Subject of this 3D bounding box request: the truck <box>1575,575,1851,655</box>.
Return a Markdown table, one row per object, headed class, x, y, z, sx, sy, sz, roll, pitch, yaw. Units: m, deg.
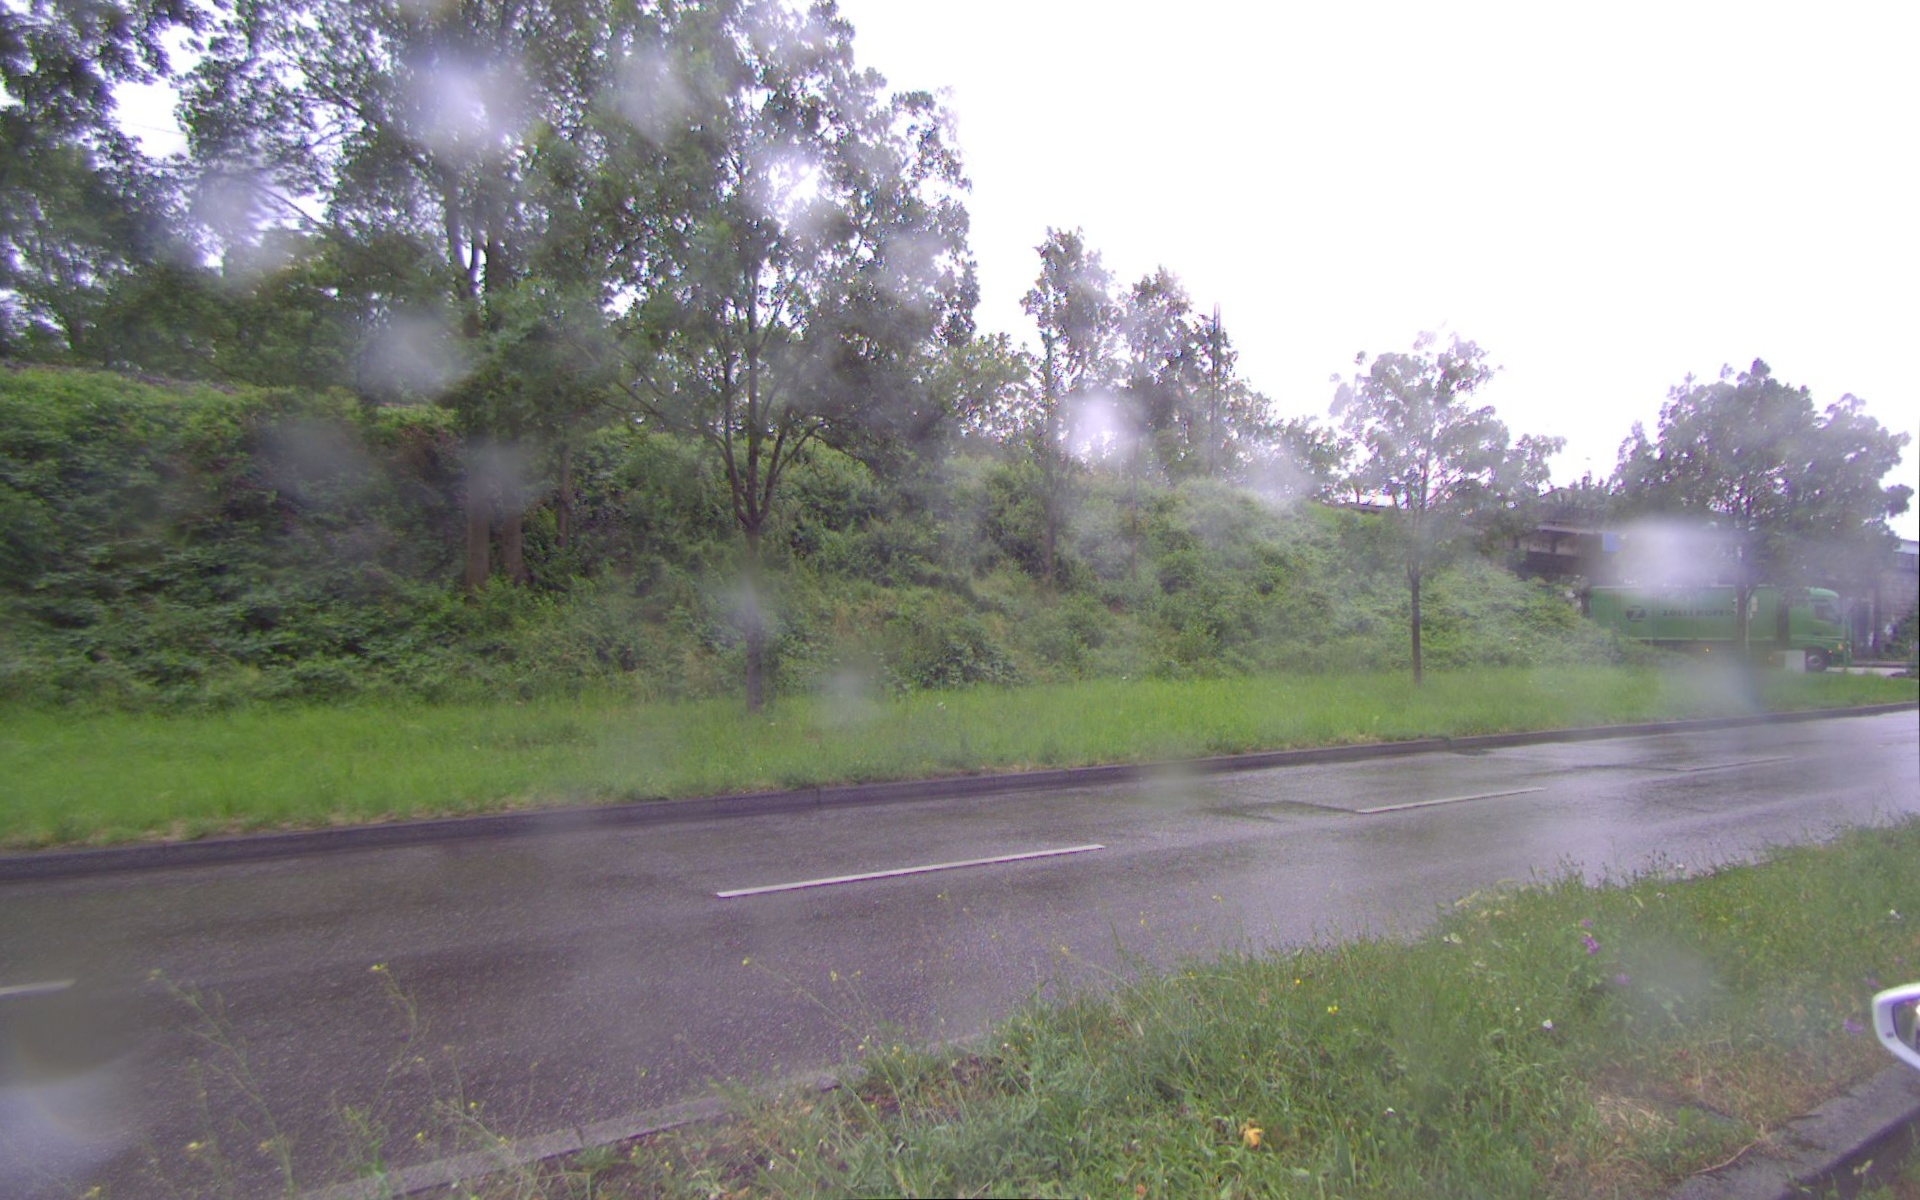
| class | x | y | z | sx | sy | sz | roll | pitch | yaw |
| --- | --- | --- | --- | --- | --- | --- | --- | --- | --- |
| truck | 34.318 | 0.639 | 46.325 | 9.872 | 3.416 | 2.346 | 0 | -1 | 25 |
